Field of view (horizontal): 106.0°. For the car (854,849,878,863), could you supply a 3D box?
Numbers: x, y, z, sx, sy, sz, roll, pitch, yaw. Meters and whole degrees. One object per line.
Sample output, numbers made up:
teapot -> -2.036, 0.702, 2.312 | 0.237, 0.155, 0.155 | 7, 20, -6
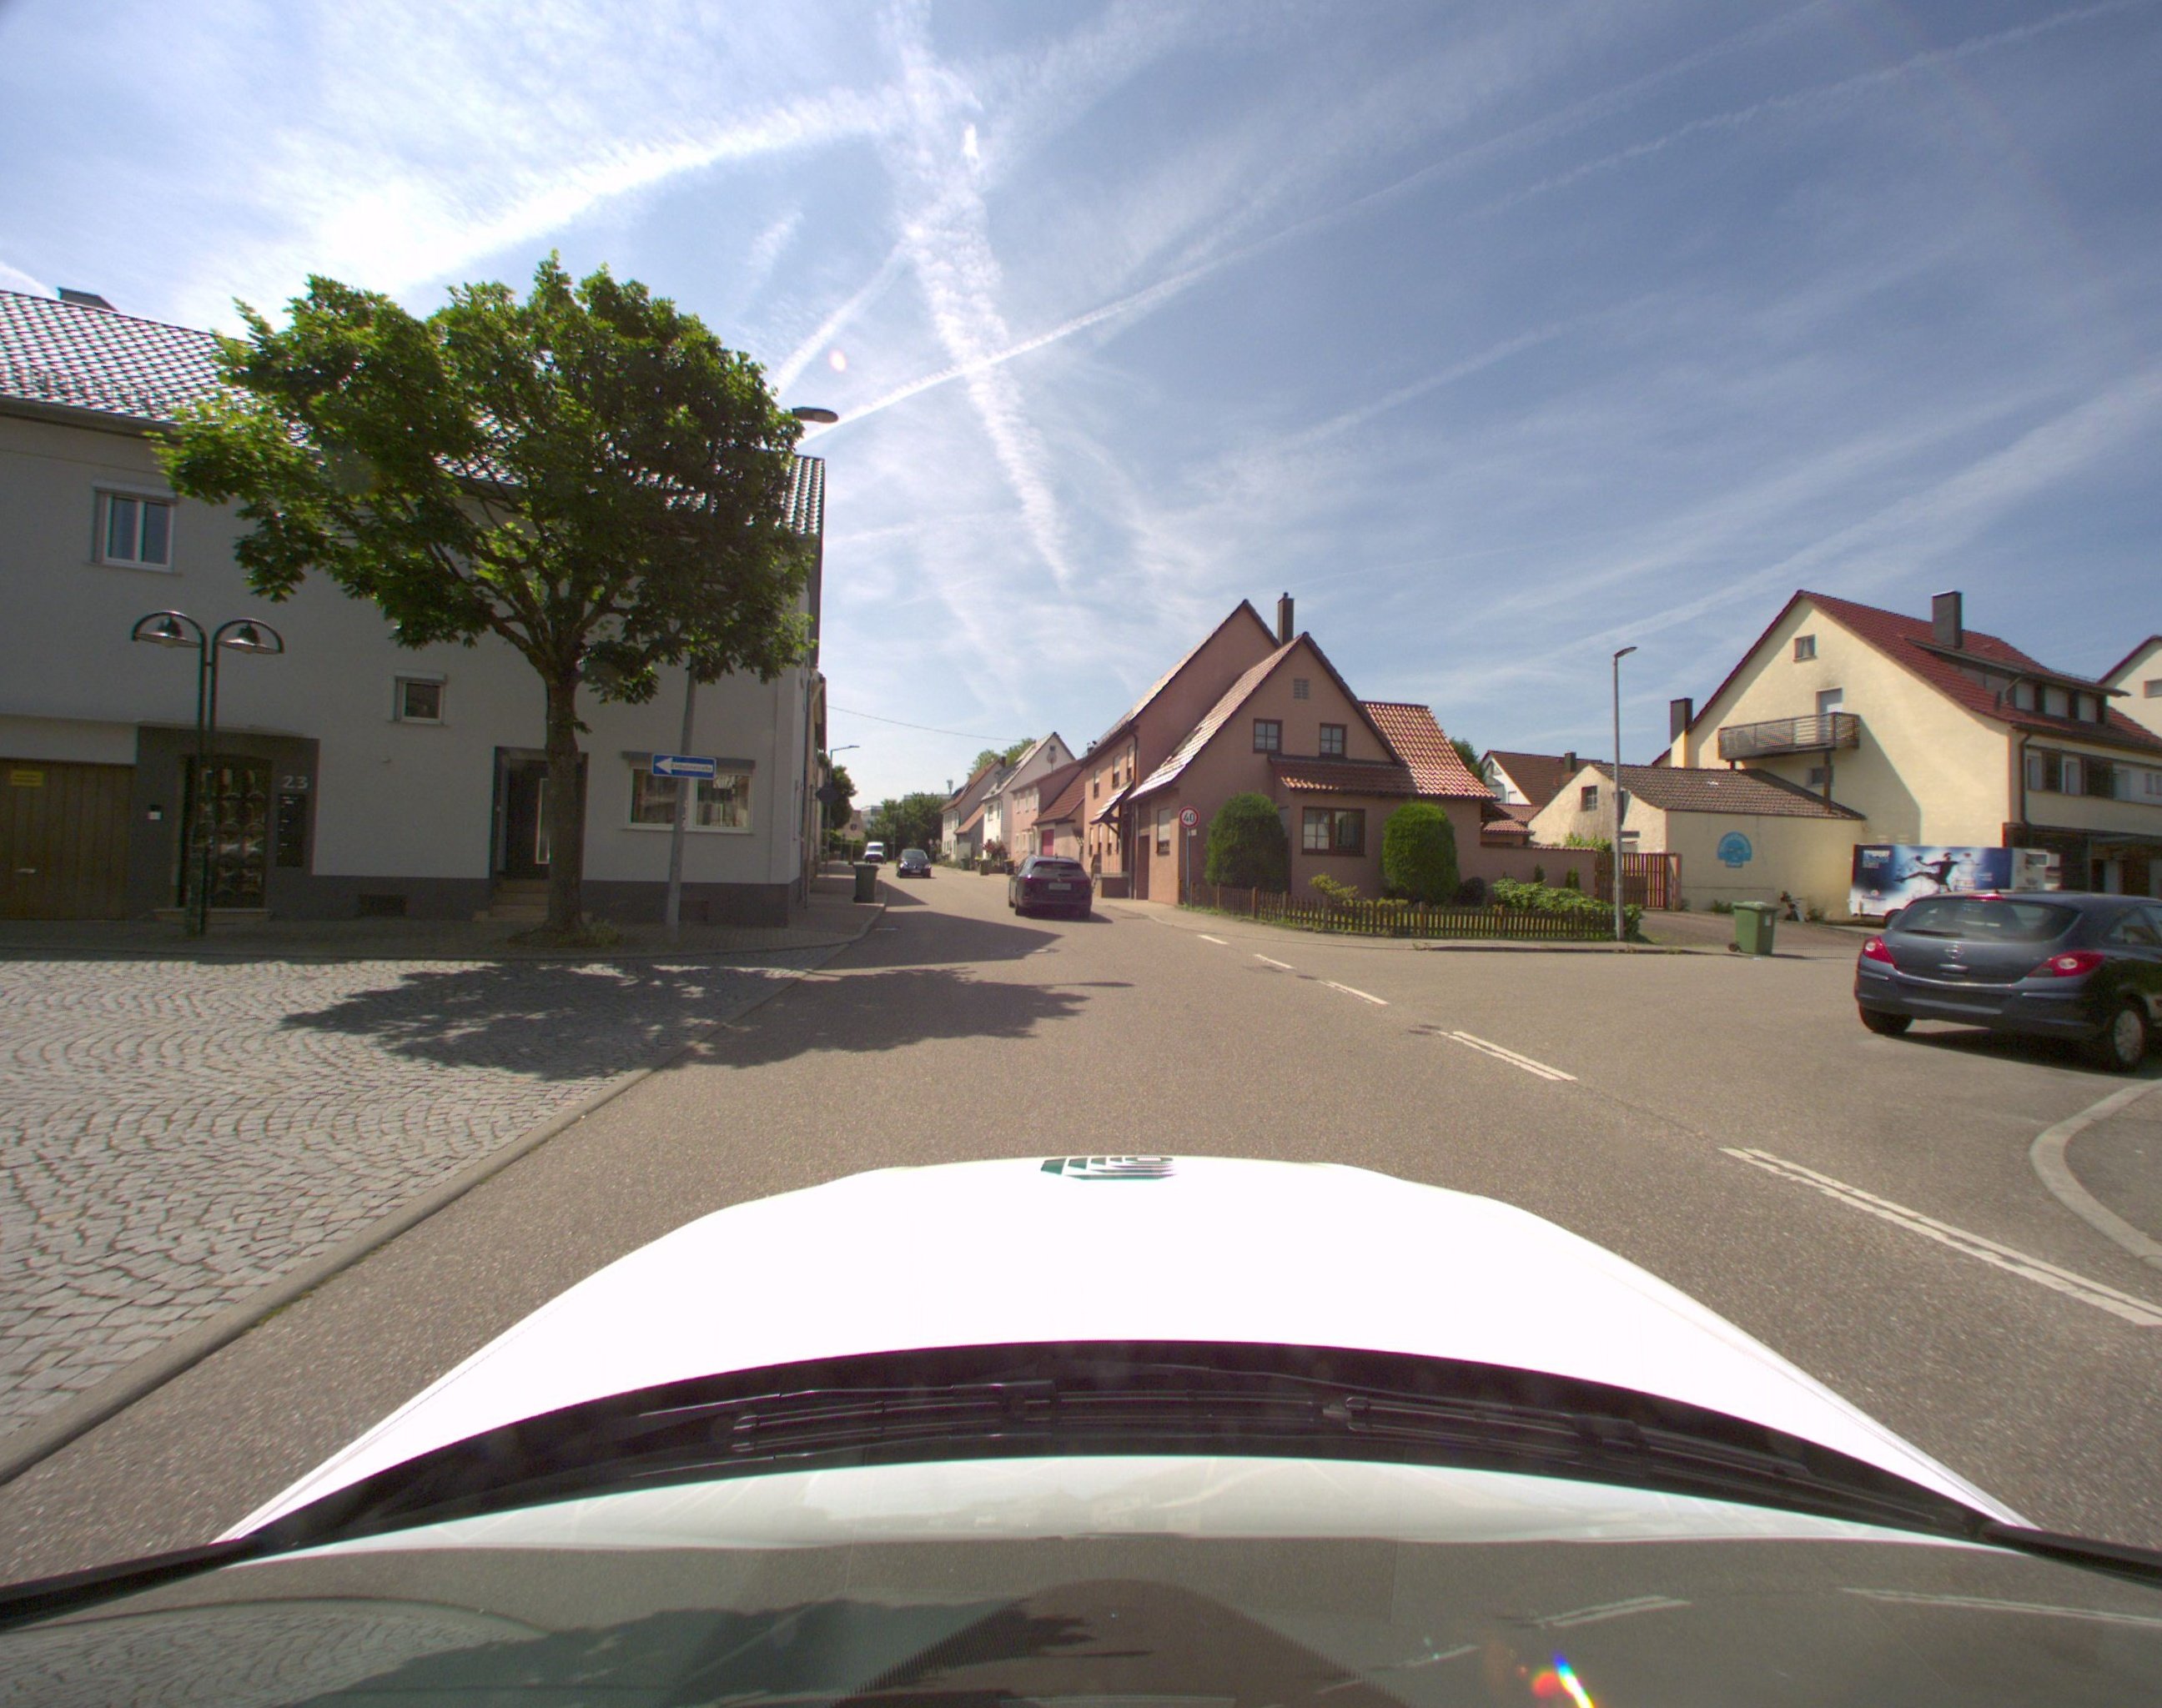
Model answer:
car -> -33.100, 0.288, 125.660 | 2.119, 2.014, 4.941 | 2, 0, 3

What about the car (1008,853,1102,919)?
car -> -0.783, 0.722, 20.561 | 1.840, 1.420, 4.669 | 2, 0, -8

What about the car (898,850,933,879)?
car -> -9.467, 0.542, 46.431 | 1.801, 1.555, 4.053 | 1, 0, -13

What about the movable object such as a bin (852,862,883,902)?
movable object such as a bin -> -5.931, 0.768, 22.651 | 0.754, 1.060, 0.677 | 2, 0, -11

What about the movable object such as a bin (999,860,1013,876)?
movable object such as a bin -> -5.066, 0.919, 55.084 | 0.681, 1.050, 0.829 | -2, 1, -22

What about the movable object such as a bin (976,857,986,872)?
movable object such as a bin -> -7.866, 0.814, 63.925 | 0.666, 1.194, 0.584 | 2, -1, -18

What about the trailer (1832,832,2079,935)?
trailer -> 26.452, 0.832, 24.905 | 2.000, 2.813, 4.734 | 2, 0, -20

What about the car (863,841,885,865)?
car -> -23.728, -0.111, 93.223 | 2.119, 2.563, 5.795 | 2, 0, -16

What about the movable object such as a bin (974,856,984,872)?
movable object such as a bin -> -8.104, 0.786, 64.571 | 0.666, 1.194, 0.656 | 2, -1, -18

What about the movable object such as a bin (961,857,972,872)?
movable object such as a bin -> -9.076, 0.848, 64.663 | 0.681, 1.155, 0.814 | 3, -1, -22

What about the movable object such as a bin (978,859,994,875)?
movable object such as a bin -> -6.505, 0.892, 55.586 | 0.879, 1.074, 0.866 | -2, 1, -22

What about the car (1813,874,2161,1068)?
car -> 9.484, 1.013, 7.948 | 3.815, 1.488, 1.878 | 2, -1, -19

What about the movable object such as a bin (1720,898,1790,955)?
movable object such as a bin -> 14.111, 1.501, 17.059 | 0.499, 1.095, 1.004 | 2, -1, -24
